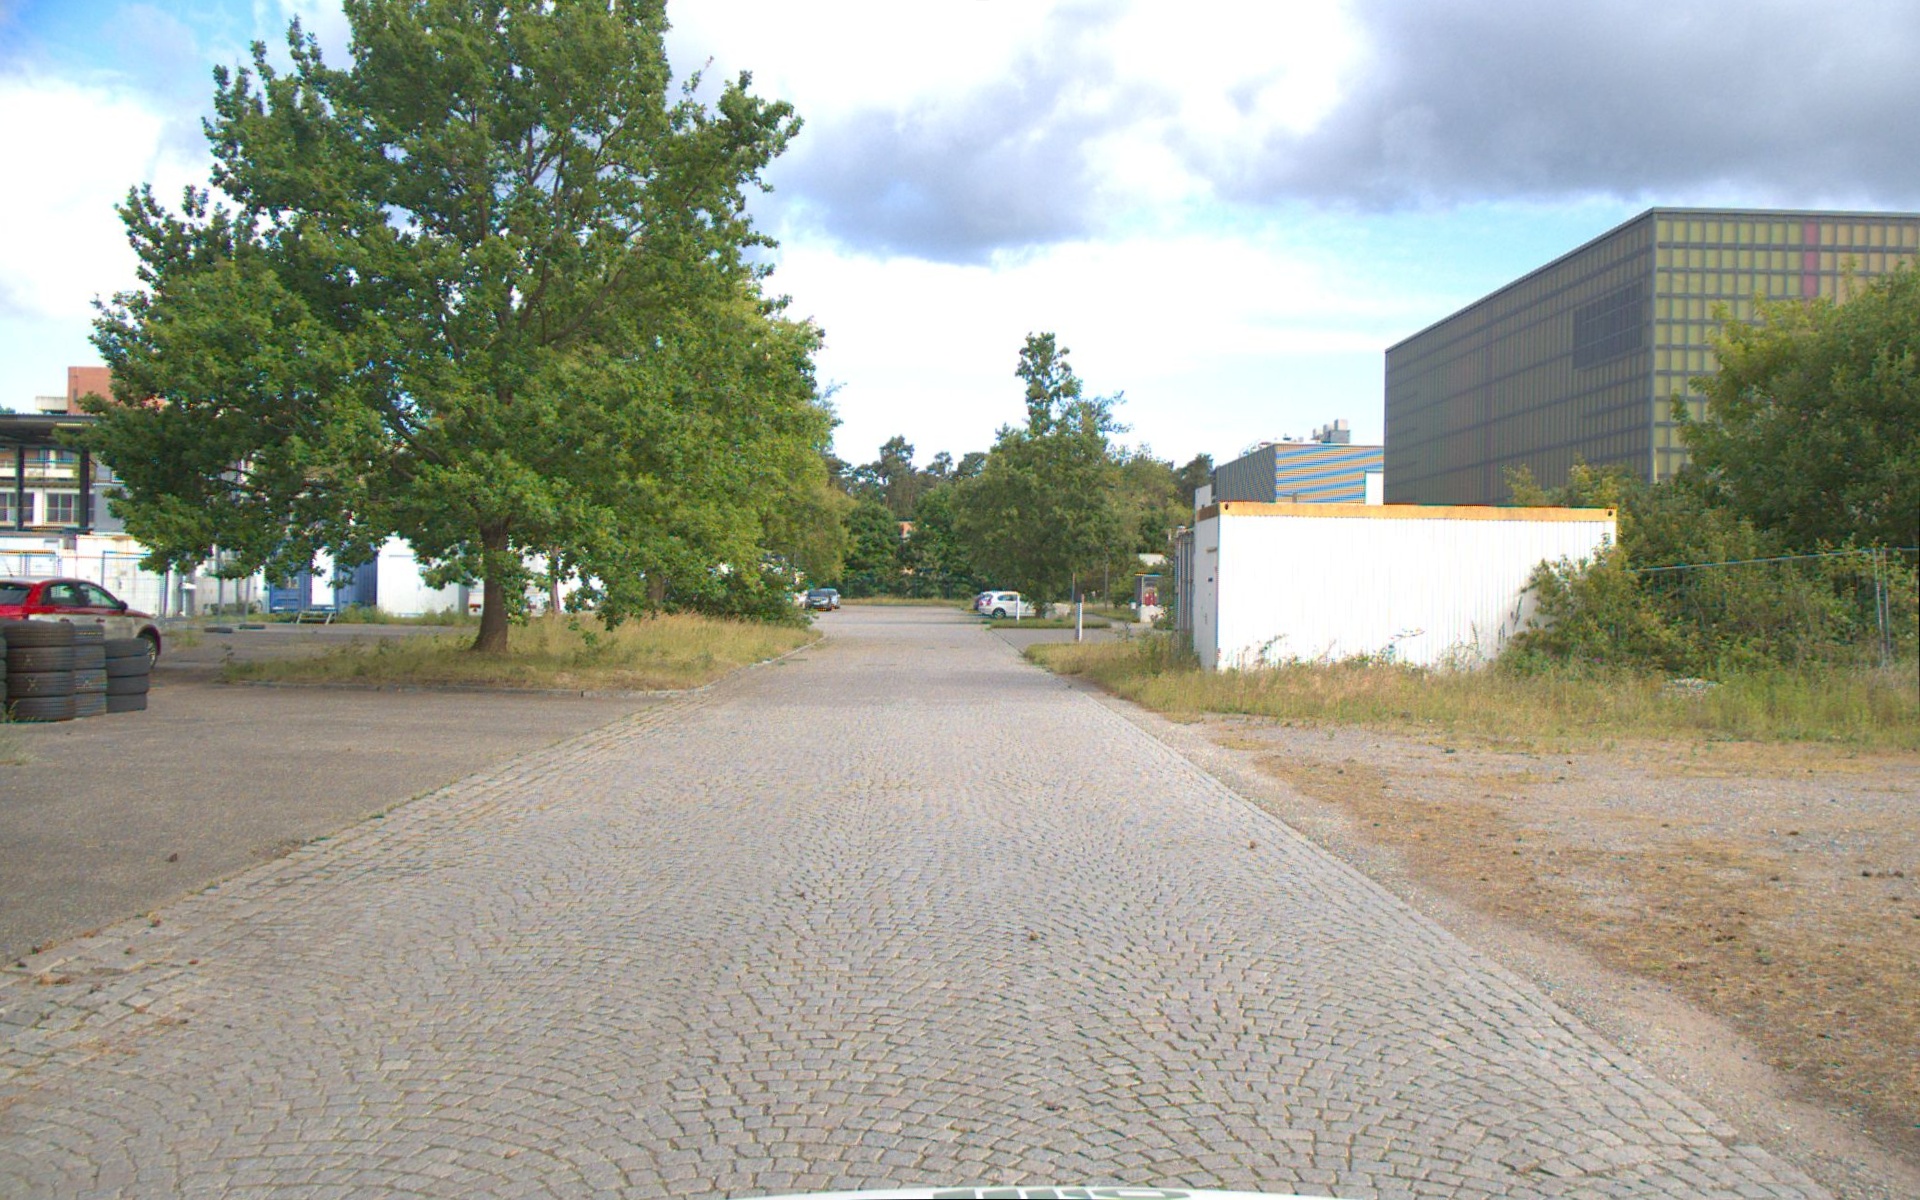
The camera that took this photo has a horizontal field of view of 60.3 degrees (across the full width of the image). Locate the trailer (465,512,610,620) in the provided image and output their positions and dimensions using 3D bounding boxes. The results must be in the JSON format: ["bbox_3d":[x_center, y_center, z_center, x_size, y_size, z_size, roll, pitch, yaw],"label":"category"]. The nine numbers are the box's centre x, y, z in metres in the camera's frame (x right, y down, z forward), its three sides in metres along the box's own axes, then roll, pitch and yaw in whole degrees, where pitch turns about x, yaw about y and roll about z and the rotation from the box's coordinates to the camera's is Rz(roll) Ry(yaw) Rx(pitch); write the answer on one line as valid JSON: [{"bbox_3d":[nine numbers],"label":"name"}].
[{"bbox_3d":[-16.008,-1.224,63.594,2.602,3.770,10.722,0,0,1],"label":"trailer"}]

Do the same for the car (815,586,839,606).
[{"bbox_3d":[-10.021,-0.290,125.166,1.714,1.480,3.997,0,0,-4],"label":"car"}]

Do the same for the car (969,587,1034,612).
[{"bbox_3d":[2.525,-0.061,101.424,3.906,1.481,1.769,0,0,-1],"label":"car"}]

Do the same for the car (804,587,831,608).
[{"bbox_3d":[-9.892,-0.191,114.937,1.714,1.387,3.997,0,0,-4],"label":"car"}]

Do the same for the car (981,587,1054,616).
[{"bbox_3d":[3.175,0.087,91.327,3.906,1.481,1.999,1,0,-1],"label":"car"}]

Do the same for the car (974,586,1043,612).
[{"bbox_3d":[2.819,-0.052,96.527,3.906,1.481,1.769,0,0,-1],"label":"car"}]

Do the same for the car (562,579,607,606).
[{"bbox_3d":[-23.054,-0.445,101.699,1.862,1.602,4.000,0,0,0],"label":"car"}]

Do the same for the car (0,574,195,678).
[{"bbox_3d":[-13.697,0.338,25.269,1.785,1.456,4.221,1,0,4],"label":"car"}]

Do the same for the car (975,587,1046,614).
[{"bbox_3d":[2.835,0.016,93.487,3.906,1.481,1.697,0,0,-1],"label":"car"}]
